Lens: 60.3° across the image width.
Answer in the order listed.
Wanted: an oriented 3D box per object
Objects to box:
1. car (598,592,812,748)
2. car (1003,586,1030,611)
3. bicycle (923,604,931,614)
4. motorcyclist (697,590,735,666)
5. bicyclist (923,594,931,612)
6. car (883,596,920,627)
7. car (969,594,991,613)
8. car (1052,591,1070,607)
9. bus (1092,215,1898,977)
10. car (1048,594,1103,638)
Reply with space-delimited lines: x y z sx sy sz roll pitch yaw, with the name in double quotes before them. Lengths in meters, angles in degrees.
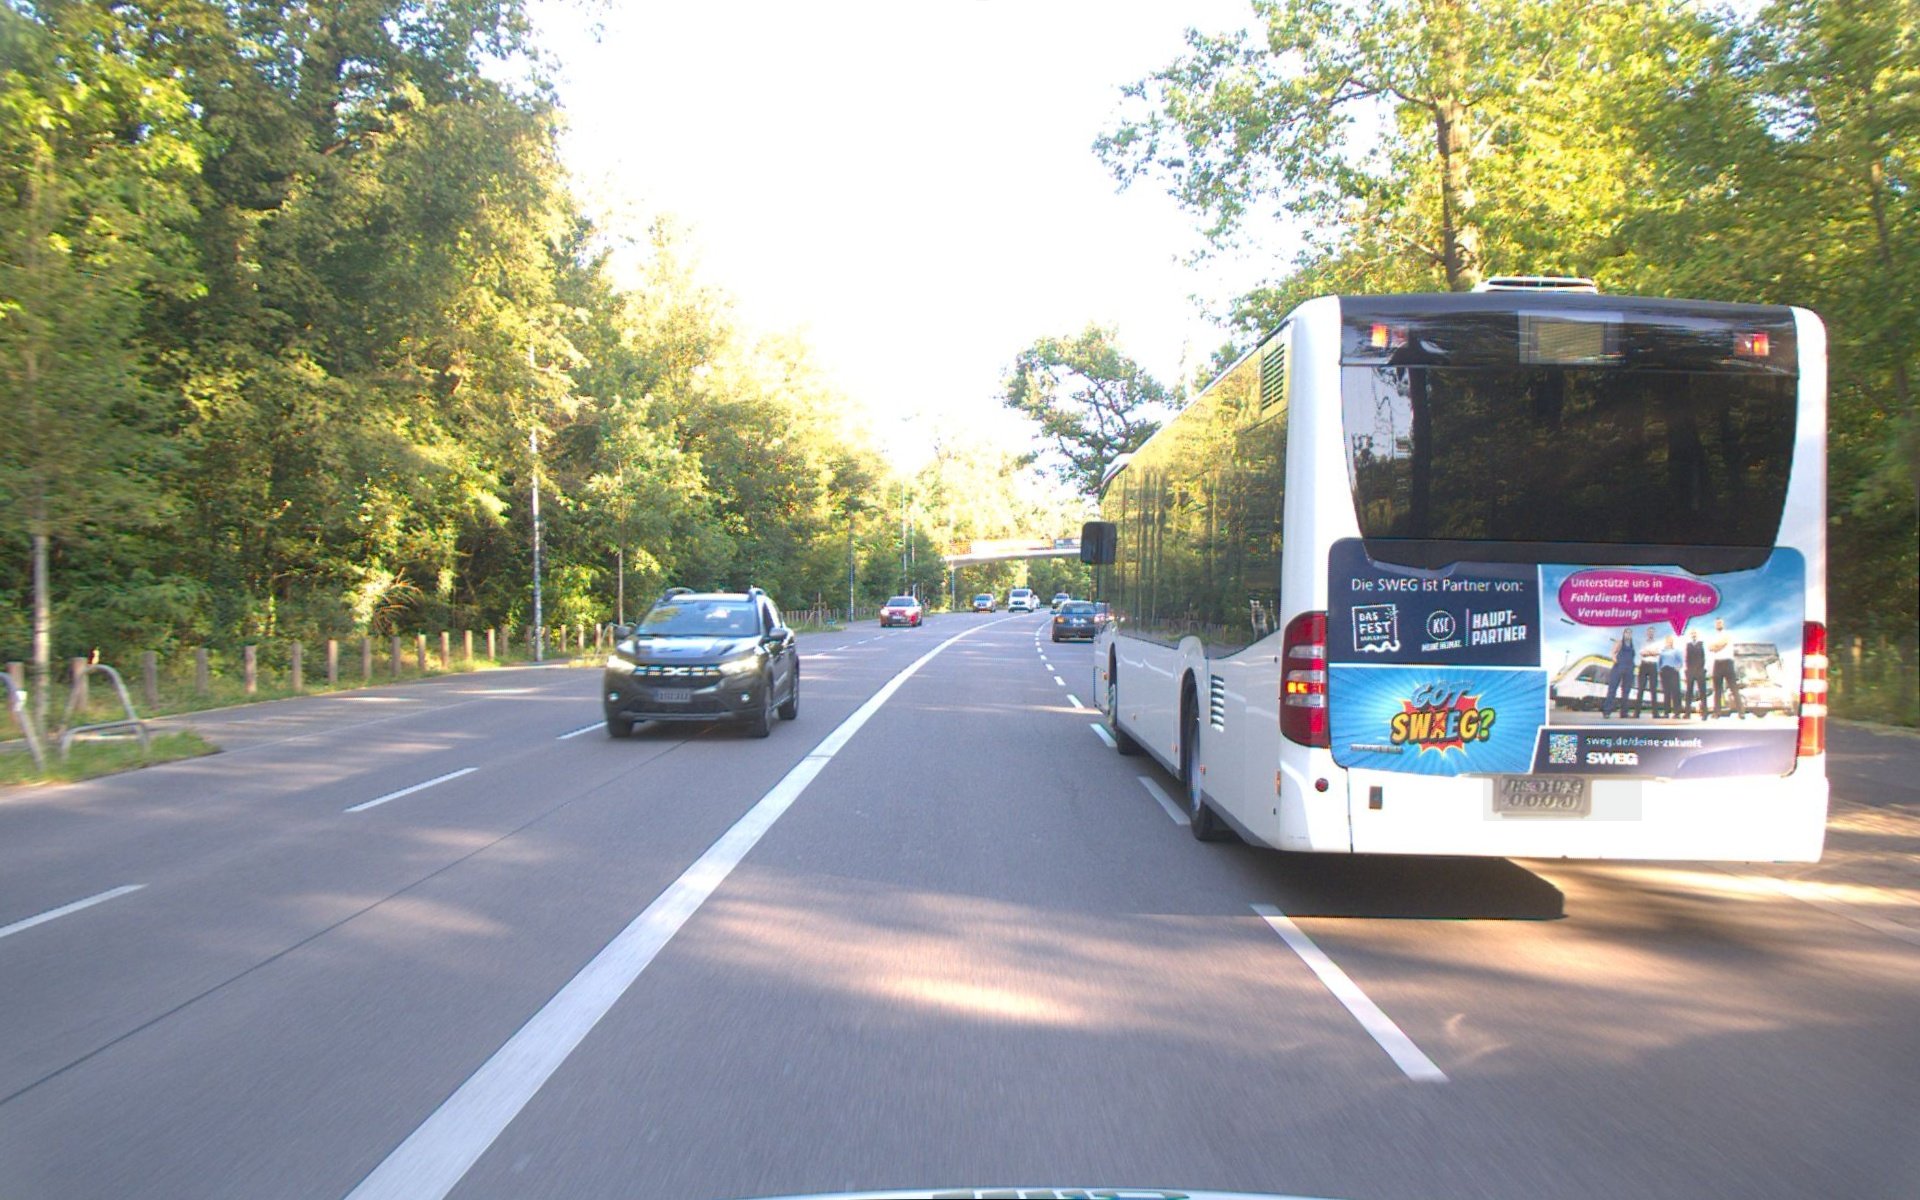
"car" -2.806 0.714 19.025 1.768 1.572 4.090 -1 0 0
"car" 4.952 -0.108 145.128 2.161 1.995 4.914 -4 0 2
"bicycle" -2.713 0.742 136.804 0.484 0.828 1.809 -3 0 4
"motorcyclist" -5.147 0.580 34.927 0.642 1.567 0.905 -1 0 0
"bicyclist" -2.742 0.233 136.817 0.489 1.510 0.761 -3 0 5
"car" -2.941 0.573 83.402 1.786 1.488 4.923 0 0 -1
"car" 1.720 0.267 143.407 1.762 1.627 4.001 0 0 3
"car" 11.493 -0.104 187.505 1.877 1.734 4.445 0 0 6
"bus" 2.794 -0.032 13.280 2.648 3.278 12.280 0 0 1
"car" 4.026 0.547 57.957 1.692 1.467 4.090 0 0 1
